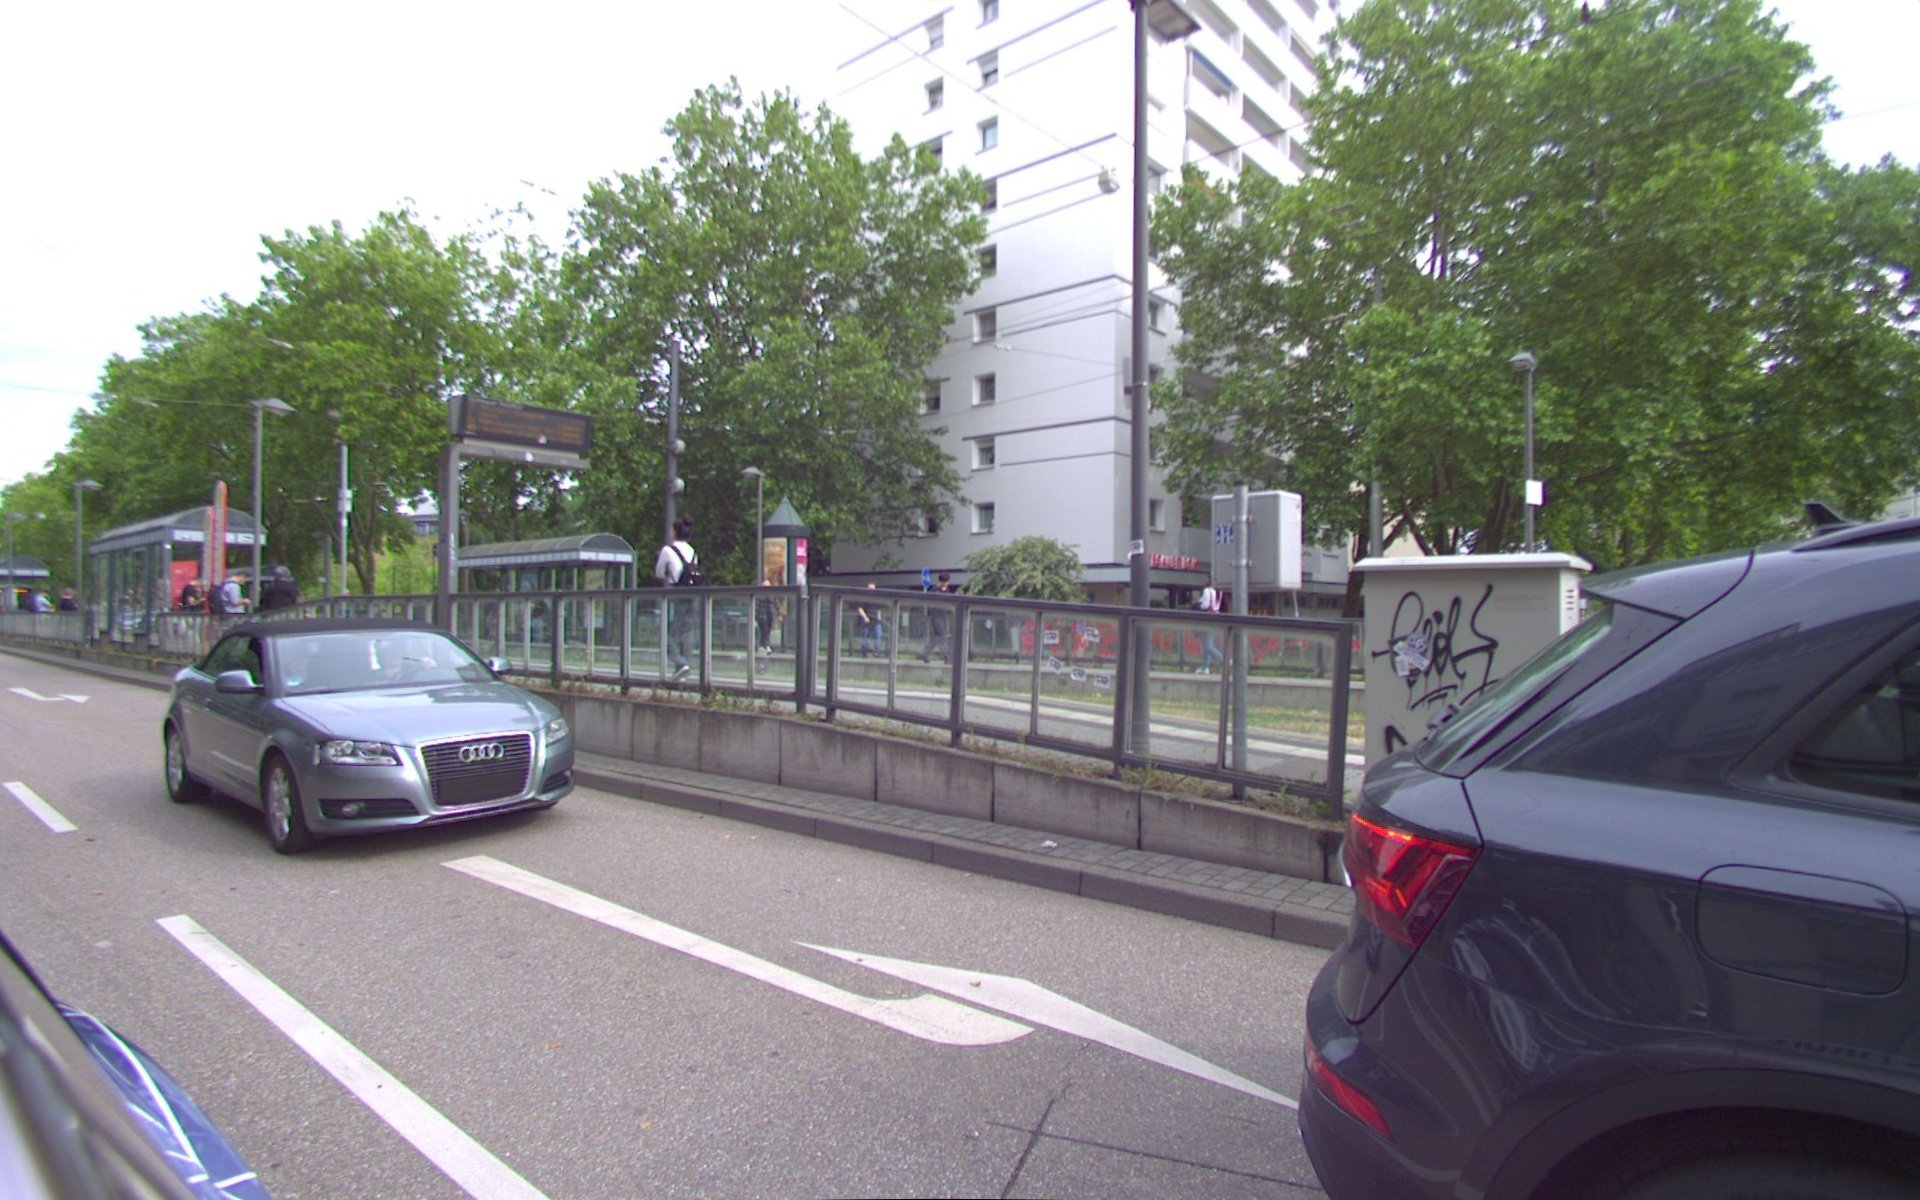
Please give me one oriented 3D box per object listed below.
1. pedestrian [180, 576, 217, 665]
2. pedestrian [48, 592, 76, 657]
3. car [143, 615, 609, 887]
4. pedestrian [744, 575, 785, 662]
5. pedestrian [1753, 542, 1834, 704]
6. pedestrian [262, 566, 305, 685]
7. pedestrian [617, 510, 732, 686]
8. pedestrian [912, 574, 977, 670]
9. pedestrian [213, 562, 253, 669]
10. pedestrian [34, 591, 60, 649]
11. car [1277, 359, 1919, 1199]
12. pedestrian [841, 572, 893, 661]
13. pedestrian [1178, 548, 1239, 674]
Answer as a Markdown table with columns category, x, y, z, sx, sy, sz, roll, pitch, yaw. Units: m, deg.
| category | x | y | z | sx | sy | sz | roll | pitch | yaw |
| --- | --- | --- | --- | --- | --- | --- | --- | --- | --- |
| pedestrian | -15.922 | 0.415 | 21.169 | 0.467 | 1.818 | 0.607 | -1 | 0 | -24 |
| pedestrian | -25.566 | 0.689 | 28.830 | 0.523 | 1.818 | 0.607 | -1 | 0 | -35 |
| car | -4.388 | 0.822 | 7.324 | 4.097 | 1.398 | 1.694 | -1 | 0 | 41 |
| pedestrian | -4.408 | 0.409 | 22.839 | 0.553 | 1.945 | 0.690 | -1 | 0 | 41 |
| pedestrian | 9.469 | 0.252 | 11.499 | 0.666 | 1.763 | 0.728 | -1 | 0 | 41 |
| pedestrian | -10.526 | 0.385 | 15.749 | 0.513 | 1.818 | 0.606 | -1 | 0 | -37 |
| pedestrian | -2.907 | -0.016 | 10.285 | 0.979 | 1.683 | 0.711 | -1 | 0 | 44 |
| pedestrian | -0.297 | 0.407 | 19.181 | 0.850 | 1.769 | 0.871 | -1 | 0 | 41 |
| pedestrian | -12.702 | 0.263 | 17.677 | 0.605 | 1.818 | 0.469 | -1 | 0 | 45 |
| pedestrian | -29.035 | 0.619 | 32.191 | 0.523 | 1.818 | 0.607 | -1 | 0 | -35 |
| car | 2.693 | 0.518 | 0.980 | 4.225 | 1.649 | 1.715 | -1 | 0 | 41 |
| pedestrian | -1.991 | 0.340 | 21.608 | 0.666 | 1.848 | 0.871 | -1 | 0 | 41 |
| pedestrian | 4.003 | 0.167 | 16.303 | 0.666 | 1.965 | 0.728 | -1 | 0 | 41 |
